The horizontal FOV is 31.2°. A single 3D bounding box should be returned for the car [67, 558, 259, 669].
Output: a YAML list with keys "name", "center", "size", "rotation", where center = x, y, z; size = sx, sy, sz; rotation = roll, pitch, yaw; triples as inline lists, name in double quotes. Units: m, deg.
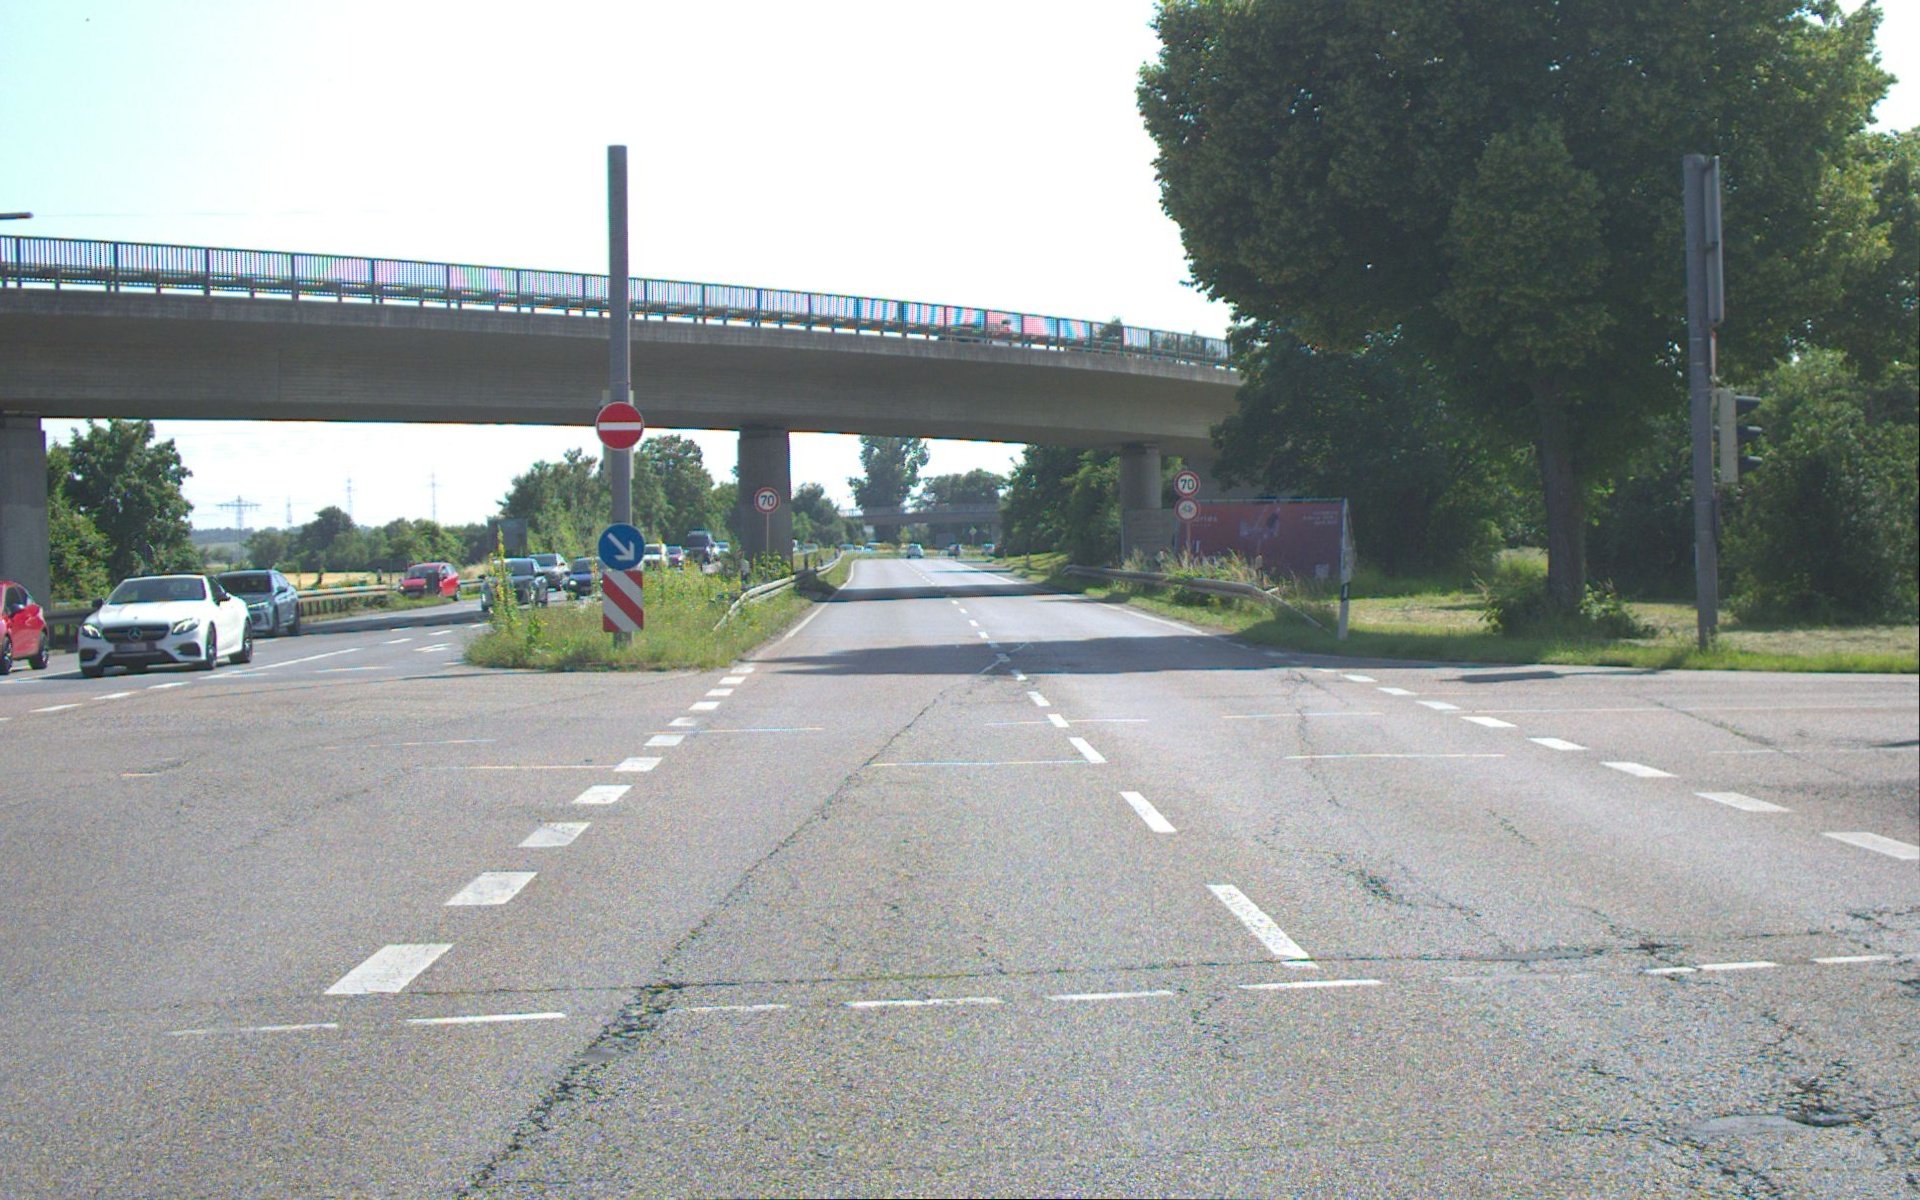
- name: "car"
  center: [-11.670, 0.167, 50.592]
  size: [1.856, 1.443, 4.241]
  rotation: [-3, 1, -1]

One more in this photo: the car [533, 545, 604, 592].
- name: "car"
  center: [-17.456, -1.406, 153.521]
  size: [1.994, 2.007, 3.998]
  rotation: [-2, 1, 11]

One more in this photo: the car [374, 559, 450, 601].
- name: "car"
  center: [-21.413, -0.798, 134.446]
  size: [1.994, 1.553, 3.999]
  rotation: [-2, 1, 5]

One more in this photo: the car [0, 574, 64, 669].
- name: "car"
  center: [-15.231, 0.333, 53.230]
  size: [1.640, 1.380, 4.241]
  rotation: [-2, 1, -1]

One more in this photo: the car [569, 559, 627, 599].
- name: "car"
  center: [-12.237, -0.729, 116.504]
  size: [1.557, 1.254, 4.000]
  rotation: [-2, 1, -1]

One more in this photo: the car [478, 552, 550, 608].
- name: "car"
  center: [-12.858, -0.584, 99.313]
  size: [1.557, 1.535, 4.000]
  rotation: [-2, 1, -1]

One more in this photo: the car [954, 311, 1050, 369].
- name: "car"
  center: [1.269, -7.723, 102.373]
  size: [1.538, 1.472, 3.387]
  rotation: [-2, 0, 25]

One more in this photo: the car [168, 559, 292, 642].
- name: "car"
  center: [-15.203, -0.012, 71.794]
  size: [1.790, 1.622, 4.000]
  rotation: [-2, 1, -2]
